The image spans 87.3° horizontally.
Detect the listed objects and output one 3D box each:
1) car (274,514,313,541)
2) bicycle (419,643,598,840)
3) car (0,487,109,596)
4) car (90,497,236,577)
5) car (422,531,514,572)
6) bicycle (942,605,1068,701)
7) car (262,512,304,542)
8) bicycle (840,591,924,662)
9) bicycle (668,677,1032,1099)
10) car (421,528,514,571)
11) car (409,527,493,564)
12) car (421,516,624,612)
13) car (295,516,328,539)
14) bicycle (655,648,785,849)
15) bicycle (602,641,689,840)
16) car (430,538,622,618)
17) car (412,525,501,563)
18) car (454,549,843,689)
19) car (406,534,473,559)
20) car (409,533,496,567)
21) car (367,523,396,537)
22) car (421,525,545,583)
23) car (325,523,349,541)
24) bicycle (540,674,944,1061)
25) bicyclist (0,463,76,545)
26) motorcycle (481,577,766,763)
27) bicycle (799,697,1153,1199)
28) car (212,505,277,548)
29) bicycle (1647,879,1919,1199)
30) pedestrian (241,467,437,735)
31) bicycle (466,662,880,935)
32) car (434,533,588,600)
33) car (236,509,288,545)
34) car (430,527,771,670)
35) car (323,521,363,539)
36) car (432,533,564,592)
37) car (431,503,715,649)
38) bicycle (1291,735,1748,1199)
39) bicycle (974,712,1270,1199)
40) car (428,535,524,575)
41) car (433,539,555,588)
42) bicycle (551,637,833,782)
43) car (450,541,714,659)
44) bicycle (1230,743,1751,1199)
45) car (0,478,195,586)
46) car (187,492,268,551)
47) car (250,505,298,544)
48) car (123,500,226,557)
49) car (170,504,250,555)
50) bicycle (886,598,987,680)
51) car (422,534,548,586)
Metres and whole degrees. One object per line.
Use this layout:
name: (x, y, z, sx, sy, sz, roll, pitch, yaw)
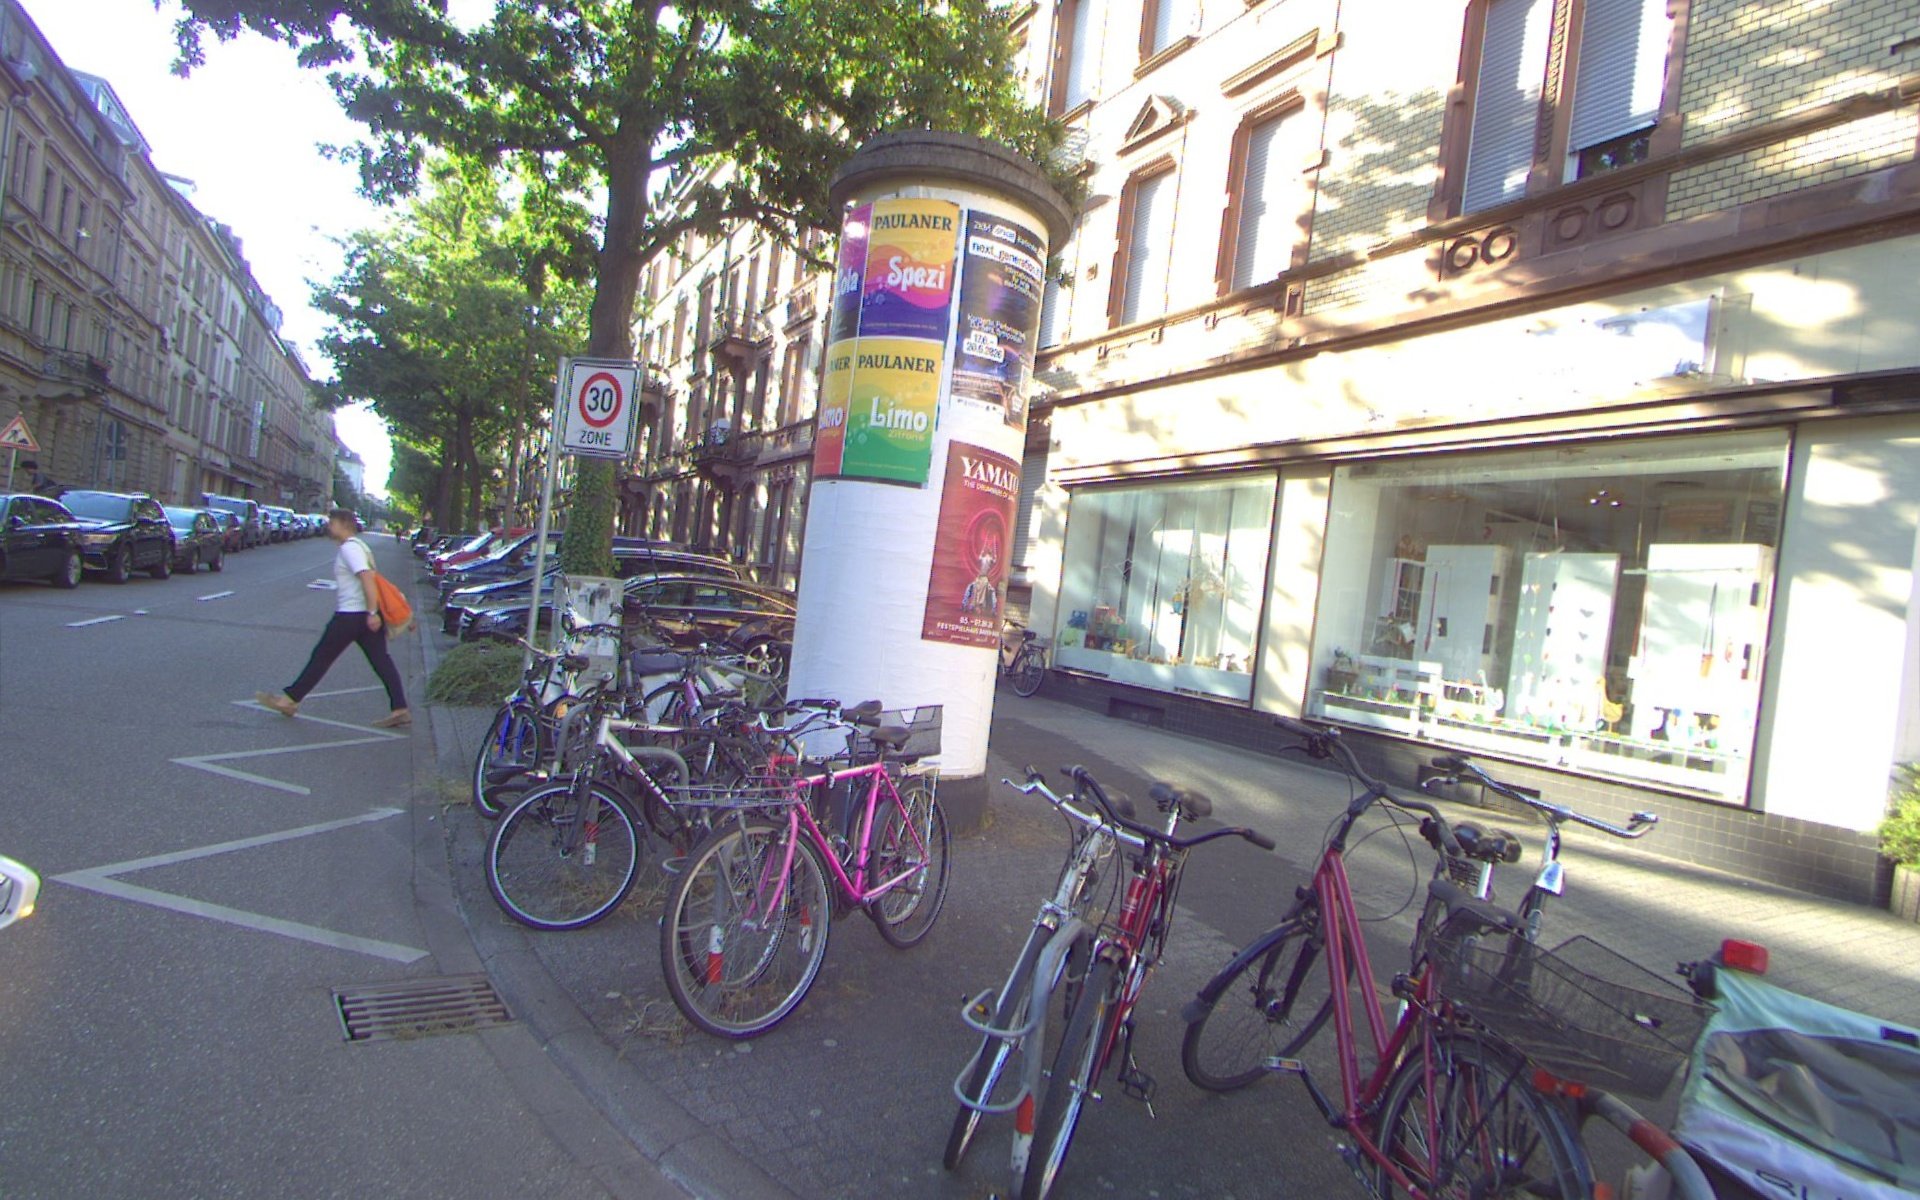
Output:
car: (-43.545, -4.763, 65.784, 1.745, 1.491, 4.026, 6, 1, -31)
bicycle: (-2.610, 0.767, 5.952, 0.348, 0.939, 1.412, 4, 1, 1)
car: (-14.306, -0.926, 14.536, 1.741, 1.470, 4.524, 6, 0, -24)
car: (-18.550, -1.452, 23.607, 1.742, 1.520, 4.033, 6, 1, -26)
car: (-24.653, -2.399, 50.430, 3.977, 1.628, 1.720, 5, 1, -30)
bicycle: (0.622, 0.762, 15.283, 0.664, 1.187, 2.575, 4, 1, -26)
car: (-40.652, -4.385, 60.478, 1.745, 1.491, 4.026, 6, 1, -31)
bicycle: (-1.595, 0.486, 19.926, 0.664, 1.187, 2.575, 4, 1, -26)
bicycle: (-0.283, 0.912, 3.886, 0.417, 1.108, 1.934, 5, 1, 24)
car: (-25.921, -2.646, 52.925, 4.187, 1.800, 1.820, 5, 2, -31)
car: (-31.348, -3.363, 62.045, 1.809, 1.818, 4.211, 7, 2, 41)
car: (-11.614, -0.924, 26.786, 4.640, 2.060, 1.863, 5, 1, -33)
car: (-48.669, -5.435, 75.546, 1.745, 1.491, 4.026, 6, 1, -31)
bicycle: (-1.487, 0.832, 6.067, 0.350, 0.940, 1.515, 3, 1, -27)
bicycle: (-1.921, 0.782, 6.052, 0.349, 0.939, 1.517, 4, 1, -21)
car: (-10.478, -0.516, 24.317, 4.020, 1.530, 1.864, 5, 1, -30)
car: (-32.767, -3.650, 65.489, 5.014, 1.951, 1.821, 5, 2, -30)
car: (-4.183, 0.280, 13.694, 4.742, 1.431, 1.838, 6, 1, -28)
car: (-34.914, -3.585, 67.550, 3.822, 1.311, 1.703, 5, 2, -33)
car: (-28.779, -2.827, 57.100, 4.191, 1.422, 1.818, 5, 2, -34)
car: (-102.383, -12.361, 178.038, 3.947, 1.882, 1.742, 8, 0, -22)
car: (-19.813, -1.899, 41.807, 4.409, 1.951, 1.833, 4, 3, -32)
car: (-66.798, -7.270, 107.895, 1.978, 1.504, 3.970, 7, -1, -30)
bicycle: (-0.728, 0.894, 4.069, 0.494, 1.066, 1.934, 5, 1, 24)
bicyclist: (-22.707, -2.346, 24.805, 0.987, 1.811, 1.199, 6, -1, -29)
motorcycle: (-2.522, 0.543, 7.604, 1.881, 1.250, 0.681, 4, 2, -29)
bicycle: (0.192, 0.956, 3.261, 0.417, 1.108, 1.934, 5, 1, 22)
car: (-32.792, -3.354, 46.212, 1.741, 1.627, 4.350, 9, -1, -29)
bicycle: (1.762, 1.203, 1.898, 0.727, 1.039, 0.995, 7, 0, 39)
pedestrian: (-4.894, 0.023, 8.015, 1.105, 1.922, 0.836, 7, 1, -29)
bicycle: (-1.250, 0.827, 4.802, 0.489, 1.001, 1.927, 5, 1, 38)
car: (-13.904, -1.030, 31.233, 4.147, 1.649, 1.825, 5, 1, -27)
car: (-35.951, -3.774, 51.885, 1.747, 1.484, 3.967, 9, -1, -31)
car: (-5.517, 0.004, 15.704, 4.640, 1.700, 1.840, 6, 1, -24)
car: (-71.687, -8.152, 116.991, 1.962, 1.504, 4.002, 6, -1, 3)
car: (-16.261, -1.297, 35.423, 3.978, 1.649, 1.790, 5, 1, -31)
car: (-7.816, -0.425, 20.456, 4.984, 2.242, 1.977, 7, 0, -31)
bicycle: (1.576, 1.097, 3.146, 0.563, 1.108, 1.477, 4, 1, 2)
bicycle: (0.608, 0.996, 3.080, 0.417, 1.108, 1.934, 5, 1, 22)
car: (-23.308, -2.167, 48.462, 3.977, 1.486, 1.720, 5, 1, -30)
car: (-17.392, -1.368, 37.582, 3.976, 1.453, 1.780, 4, 1, -30)
bicycle: (-1.901, 0.793, 7.308, 1.914, 0.939, 0.352, 4, 2, -30)
car: (-6.687, 0.019, 17.875, 4.073, 1.553, 1.712, 7, 0, -29)
bicycle: (1.099, 1.024, 2.456, 0.417, 1.108, 1.477, 4, 1, 1)
car: (-16.298, -1.261, 19.130, 1.741, 1.620, 4.522, 6, 1, -25)
car: (-29.833, -3.187, 41.124, 1.819, 1.966, 5.219, 9, -1, -29)
car: (-38.266, -4.225, 56.197, 1.745, 1.865, 4.492, 6, 1, -31)
car: (-25.107, -2.266, 32.285, 1.743, 1.520, 4.032, 6, 1, -27)
car: (-27.051, -2.519, 36.386, 1.580, 1.492, 3.673, 9, -1, -27)
bicycle: (-0.468, 0.642, 17.651, 0.664, 1.187, 2.575, 4, 1, -26)
car: (-18.655, -1.570, 39.561, 4.307, 1.578, 1.835, 4, 3, -30)
